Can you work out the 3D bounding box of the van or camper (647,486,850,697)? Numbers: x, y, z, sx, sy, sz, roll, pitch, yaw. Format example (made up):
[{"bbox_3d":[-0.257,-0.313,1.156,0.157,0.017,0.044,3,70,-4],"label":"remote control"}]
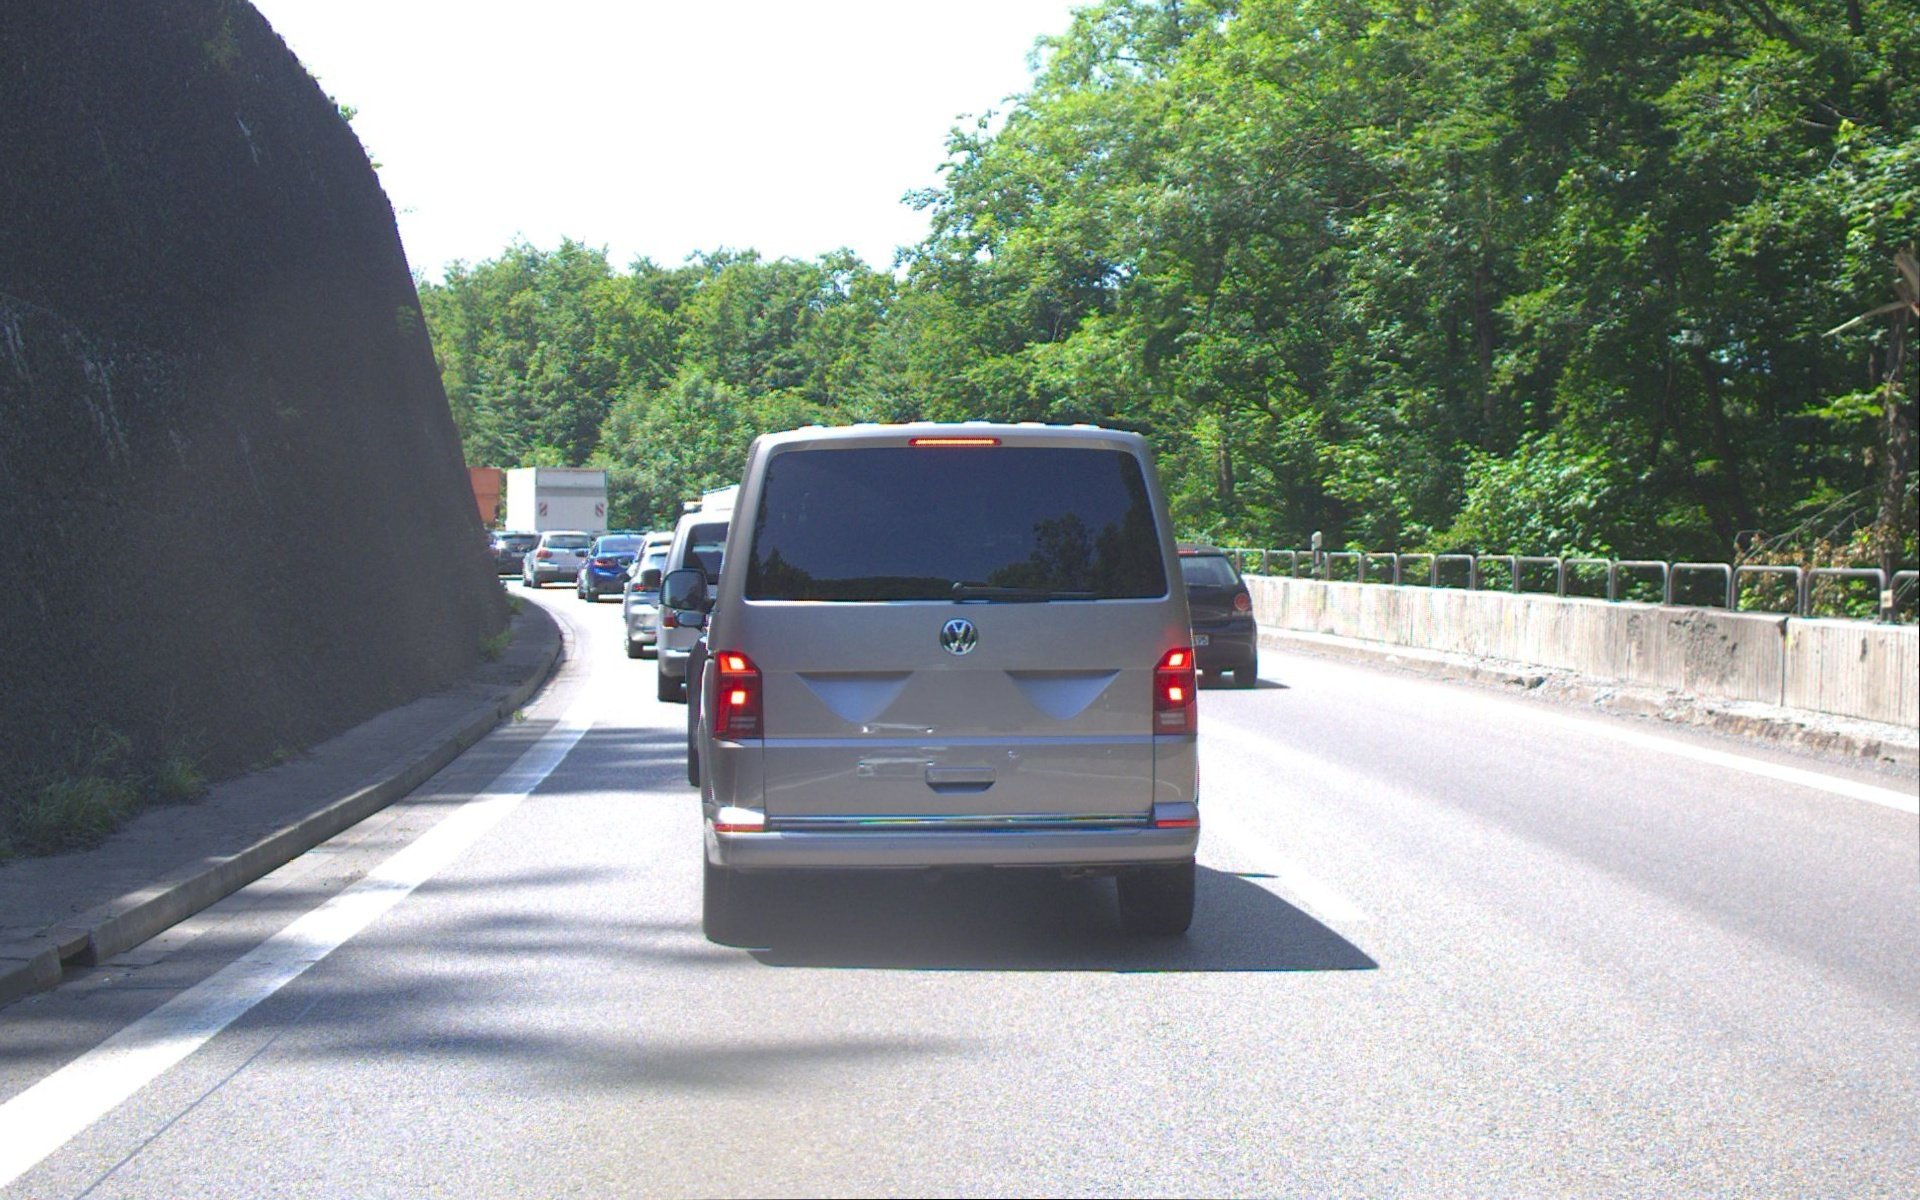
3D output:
[{"bbox_3d":[-2.128,-0.121,33.697,1.853,1.935,4.166,0,1,-5],"label":"van or camper"}]

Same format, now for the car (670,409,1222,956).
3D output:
[{"bbox_3d":[-0.164,0.248,14.524,1.940,1.924,4.695,1,1,-3],"label":"car"}]

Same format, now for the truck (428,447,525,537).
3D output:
[{"bbox_3d":[-20.605,-4.599,146.176,3.162,3.456,8.225,5,1,-13],"label":"truck"}]

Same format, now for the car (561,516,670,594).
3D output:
[{"bbox_3d":[-7.489,-0.987,74.482,1.857,1.614,4.001,1,1,-12],"label":"car"}]

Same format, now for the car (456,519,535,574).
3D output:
[{"bbox_3d":[-13.602,-1.580,100.599,1.750,1.565,3.772,1,1,-16],"label":"car"}]

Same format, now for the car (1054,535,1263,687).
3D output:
[{"bbox_3d":[2.019,0.073,35.978,1.685,1.453,4.001,1,1,-3],"label":"car"}]

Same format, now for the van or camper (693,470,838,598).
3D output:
[{"bbox_3d":[-4.867,-1.665,84.874,2.603,2.845,6.338,4,1,-10],"label":"van or camper"}]

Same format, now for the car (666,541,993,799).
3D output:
[{"bbox_3d":[-0.928,0.379,22.627,1.904,1.484,4.380,1,1,-4],"label":"car"}]

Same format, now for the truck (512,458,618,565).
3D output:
[{"bbox_3d":[-14.154,-3.141,122.621,2.924,3.674,7.727,0,1,-13],"label":"truck"}]

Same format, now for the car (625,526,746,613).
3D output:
[{"bbox_3d":[-4.903,-0.567,60.944,1.862,1.481,4.001,0,1,-9],"label":"car"}]

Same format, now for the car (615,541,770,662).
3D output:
[{"bbox_3d":[-3.437,-0.017,44.711,1.771,1.467,4.000,1,1,-1],"label":"car"}]

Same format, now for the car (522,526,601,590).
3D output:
[{"bbox_3d":[-10.331,-1.099,89.326,1.993,1.612,4.001,0,1,-6],"label":"car"}]
